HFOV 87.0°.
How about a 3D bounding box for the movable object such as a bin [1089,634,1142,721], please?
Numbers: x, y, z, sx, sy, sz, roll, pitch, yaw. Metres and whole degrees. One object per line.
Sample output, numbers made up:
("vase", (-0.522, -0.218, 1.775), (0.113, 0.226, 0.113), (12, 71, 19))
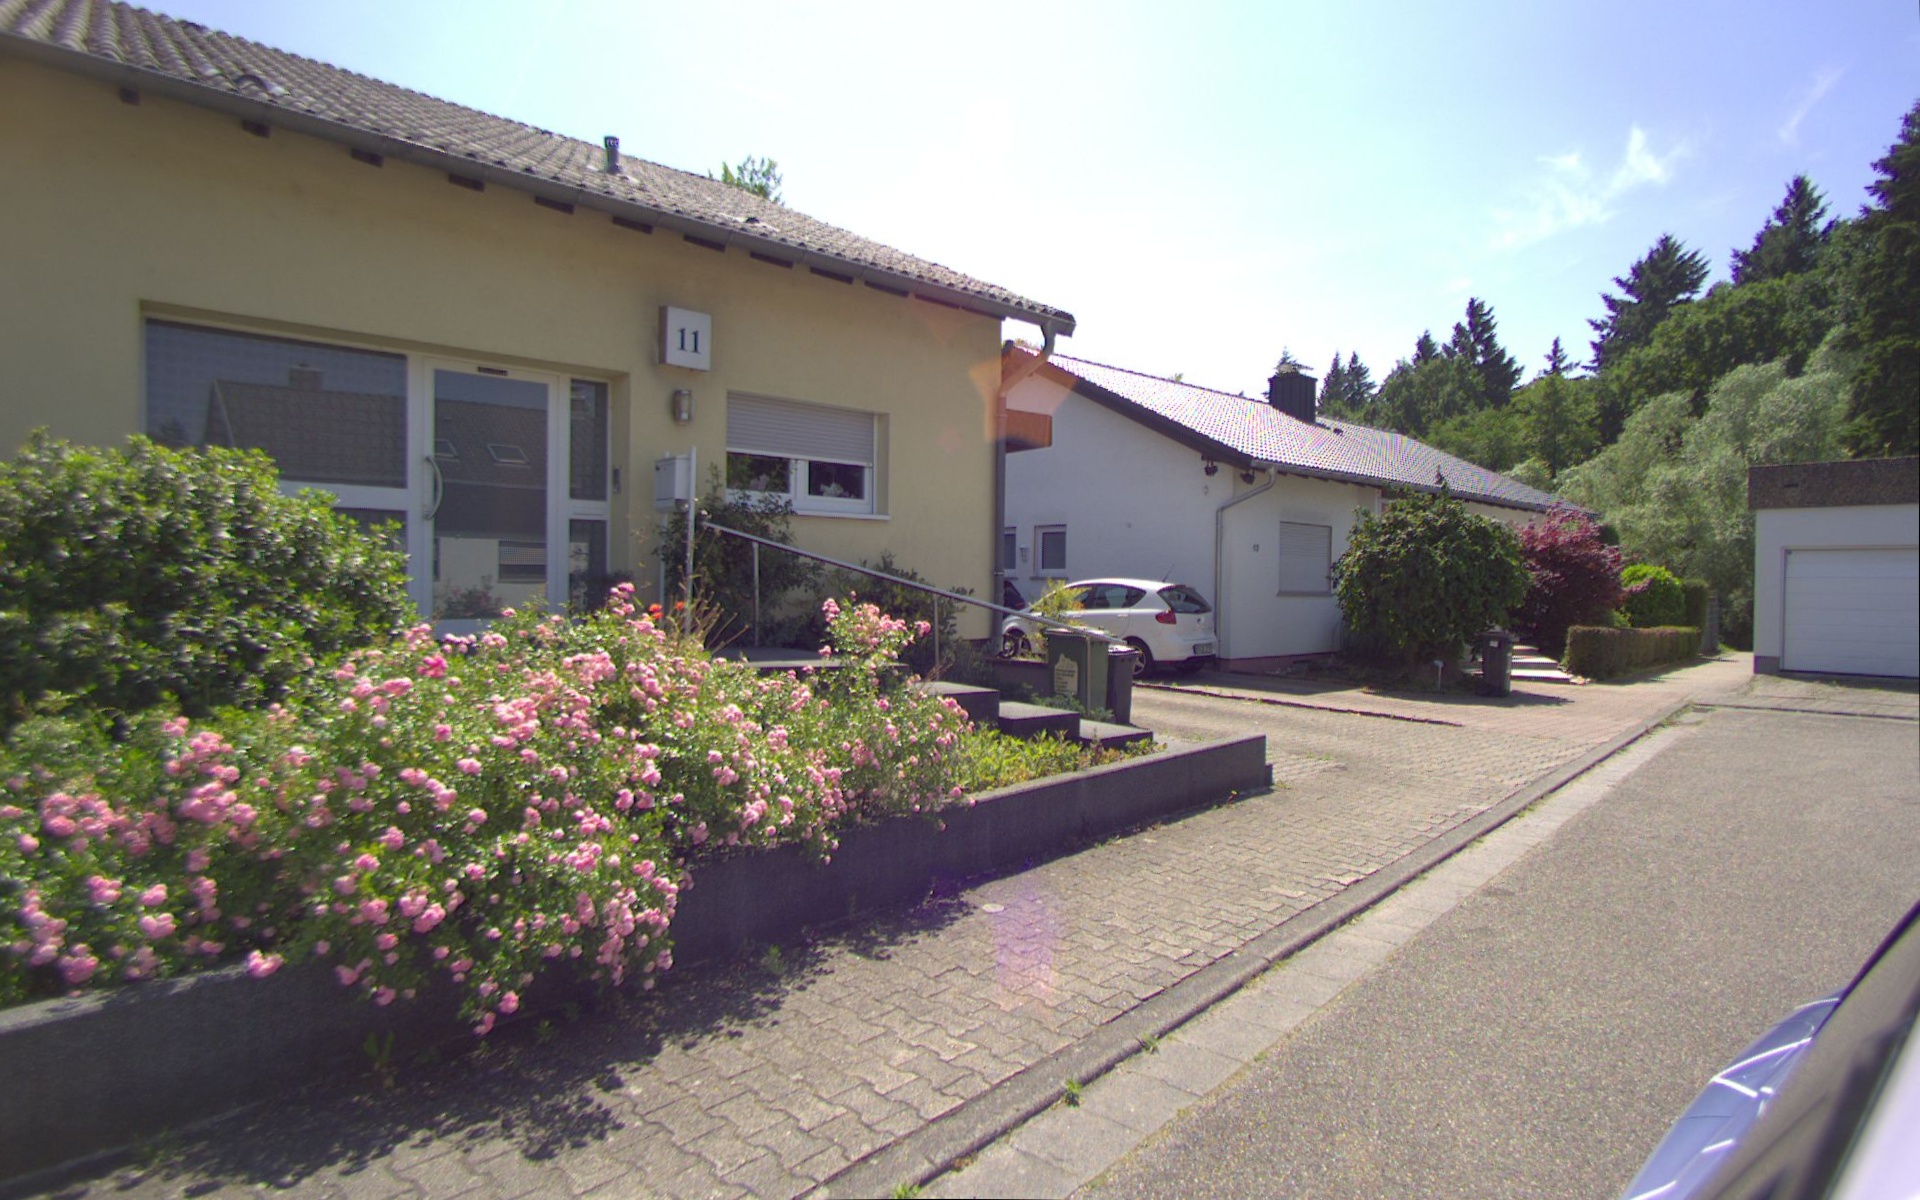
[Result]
("movable object such as a bin", (1.716, 0.841, 11.178), (0.425, 0.902, 0.401), (1, 1, 42))

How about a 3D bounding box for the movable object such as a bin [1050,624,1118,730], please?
("movable object such as a bin", (1.329, 0.804, 10.841), (0.490, 1.054, 0.584), (1, 1, 42))

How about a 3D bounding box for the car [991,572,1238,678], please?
("car", (2.564, 0.337, 17.436), (1.723, 1.588, 3.991), (0, 1, -44))

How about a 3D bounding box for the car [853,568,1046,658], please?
("car", (-0.314, 0.179, 20.945), (1.895, 1.627, 3.995), (-1, 2, -40))

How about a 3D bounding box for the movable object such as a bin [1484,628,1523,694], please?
("movable object such as a bin", (7.806, 0.861, 14.526), (0.369, 0.902, 0.390), (-1, 1, -42))
